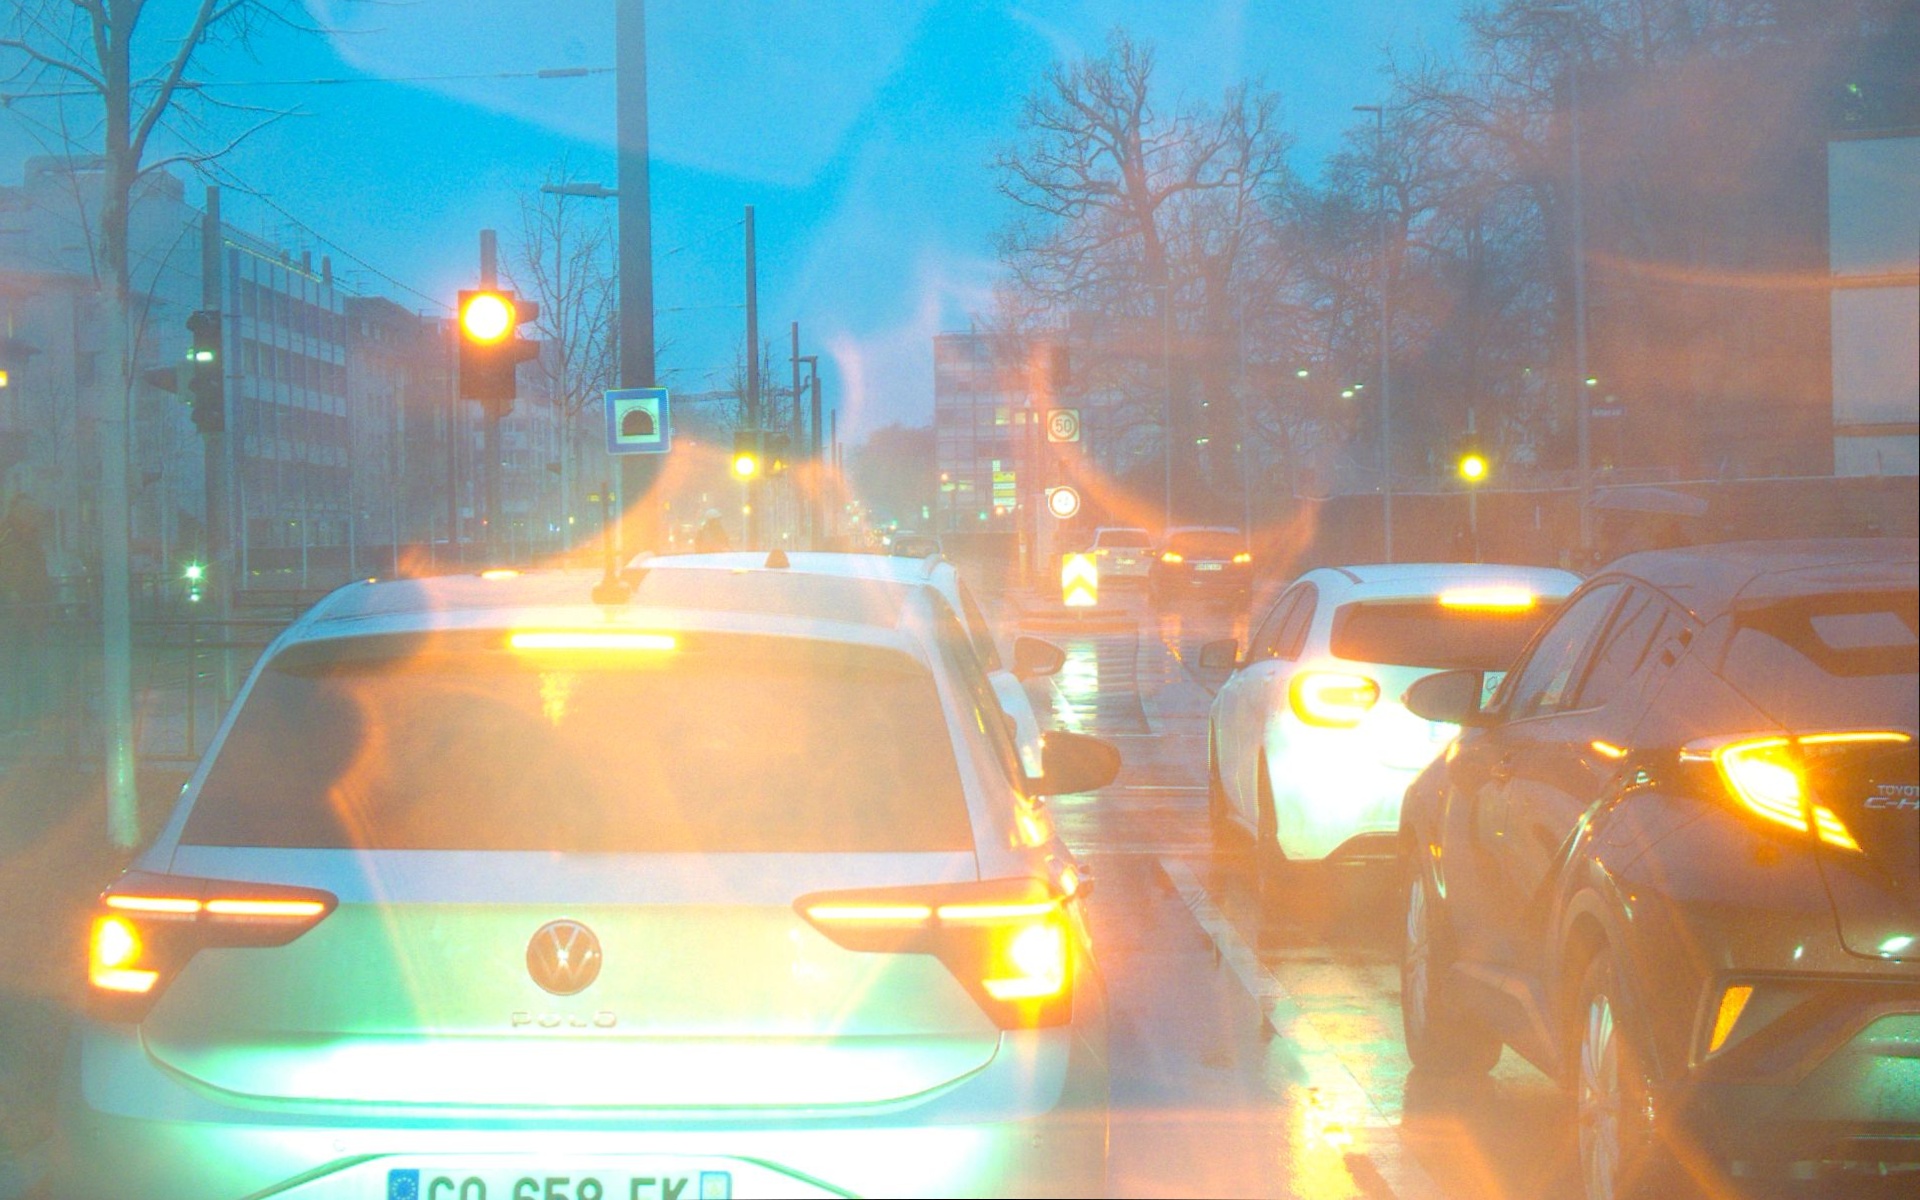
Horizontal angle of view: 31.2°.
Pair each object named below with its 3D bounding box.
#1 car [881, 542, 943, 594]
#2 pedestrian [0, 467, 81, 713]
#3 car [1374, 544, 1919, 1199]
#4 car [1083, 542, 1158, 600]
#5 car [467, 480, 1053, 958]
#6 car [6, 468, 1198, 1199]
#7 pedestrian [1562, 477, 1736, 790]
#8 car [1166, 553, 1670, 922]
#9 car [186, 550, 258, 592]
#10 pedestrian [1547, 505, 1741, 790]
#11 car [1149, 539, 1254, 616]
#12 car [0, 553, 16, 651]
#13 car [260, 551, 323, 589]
[{"bbox_3d":[-1.373,-0.942,100.144,1.737,1.415,4.394,-1,1,0],"label":"car"},{"bbox_3d":[-8.006,-0.092,28.567,1.005,2.007,0.961,-2,1,-40],"label":"pedestrian"},{"bbox_3d":[2.141,0.629,8.205,1.800,1.505,3.895,-1,1,0],"label":"car"},{"bbox_3d":[4.165,-0.773,89.774,1.737,1.415,3.703,-1,1,0],"label":"car"},{"bbox_3d":[-0.637,0.319,13.024,1.799,1.461,4.586,-1,1,0],"label":"car"},{"bbox_3d":[-0.629,0.534,6.916,1.693,1.528,4.001,0,1,-4],"label":"car"},{"bbox_3d":[4.542,0.208,22.720,0.959,2.007,1.007,-1,1,2],"label":"pedestrian"},{"bbox_3d":[1.924,0.521,15.479,1.745,1.428,3.731,1,1,0],"label":"car"},{"bbox_3d":[-29.250,-1.160,136.346,1.950,1.597,4.000,1,1,0],"label":"car"},{"bbox_3d":[4.957,0.326,24.953,0.958,2.007,1.008,-1,1,-23],"label":"pedestrian"},{"bbox_3d":[4.699,-0.465,67.206,1.737,1.415,3.703,-1,1,0],"label":"car"},{"bbox_3d":[-16.683,0.036,55.217,1.993,1.597,4.000,1,1,-1],"label":"car"},{"bbox_3d":[-29.096,-1.313,149.718,1.950,1.597,4.000,1,1,0],"label":"car"}]
